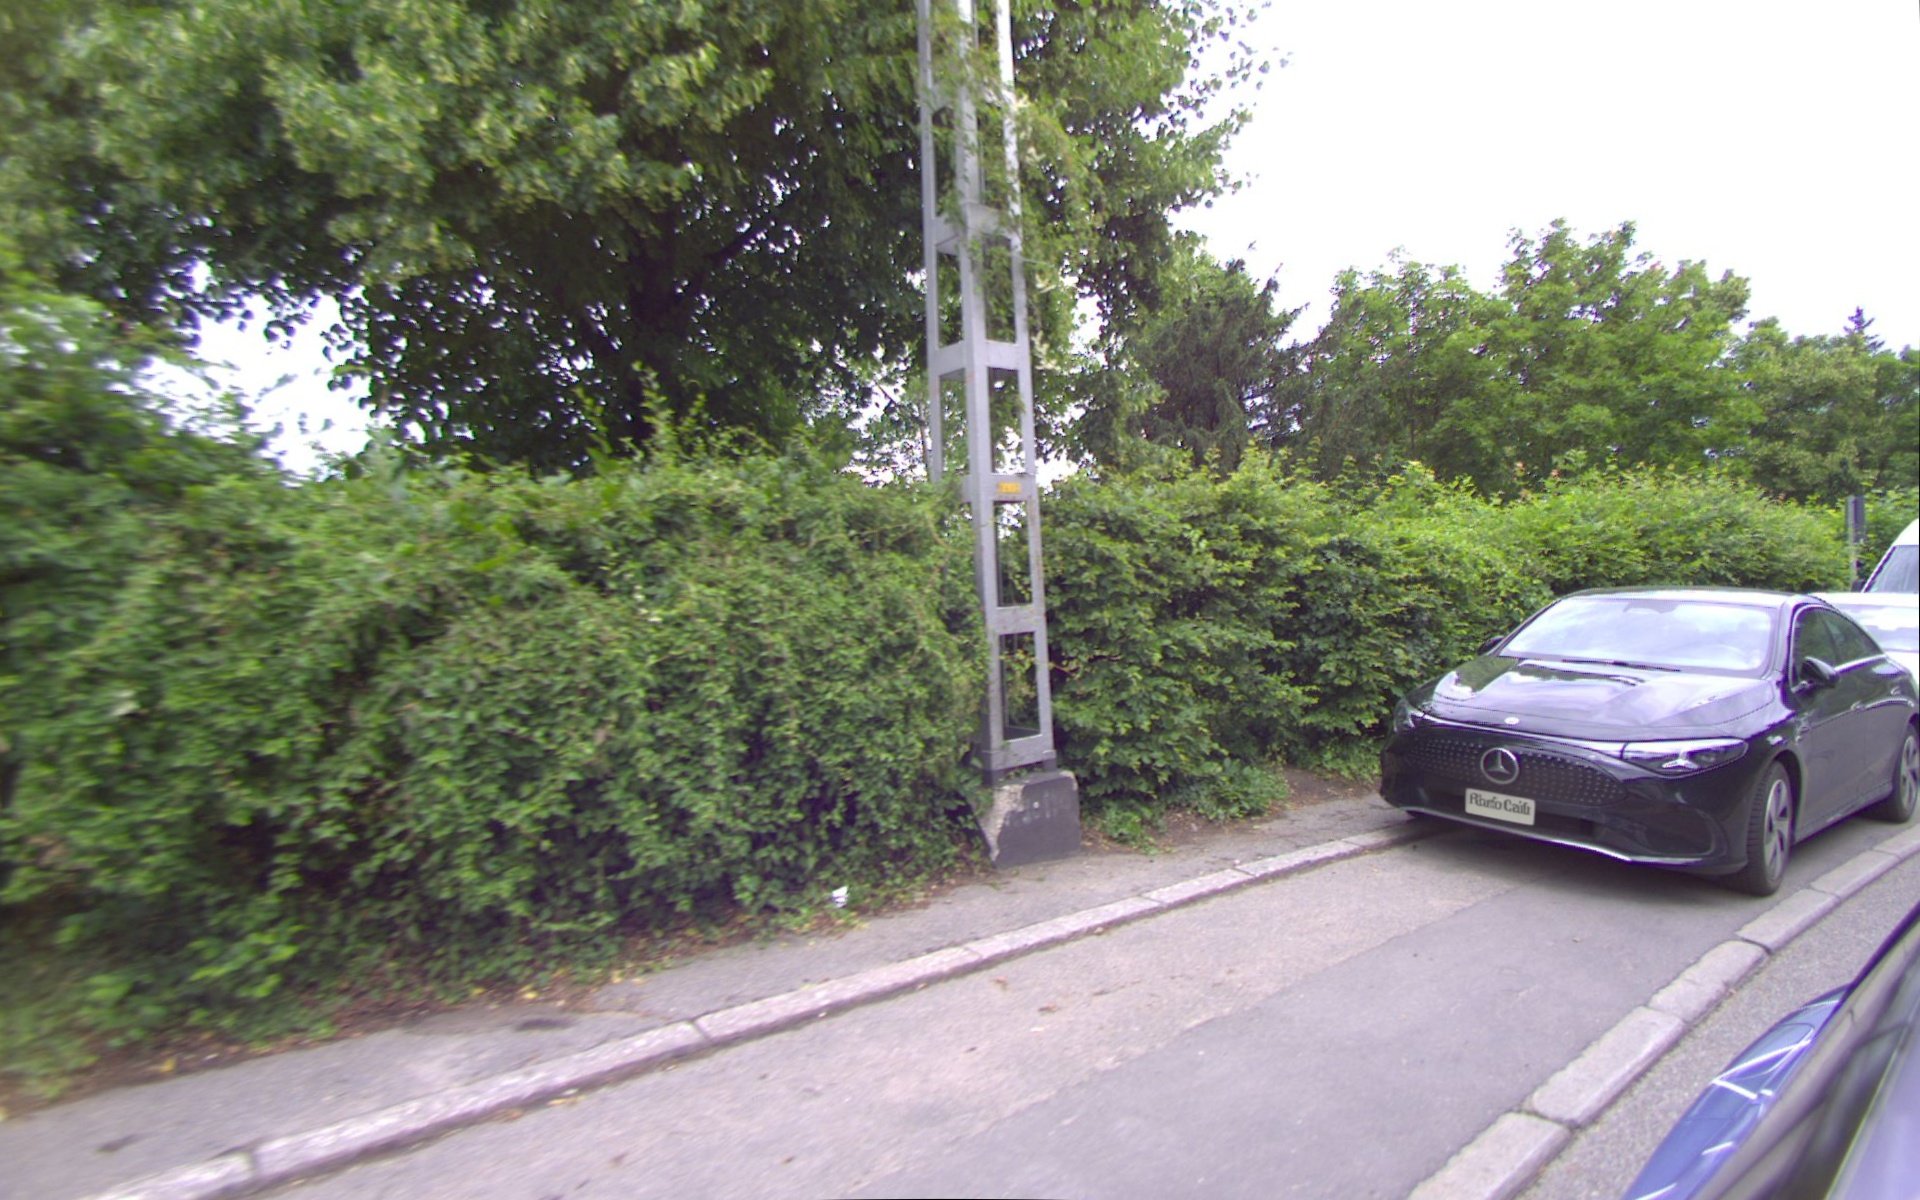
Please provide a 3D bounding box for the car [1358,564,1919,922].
[{"bbox_3d":[4.536,0.568,6.241,4.577,1.482,1.706,0,1,-37],"label":"car"}]

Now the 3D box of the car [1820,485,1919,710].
[{"bbox_3d":[13.528,-0.014,12.587,5.724,2.554,2.095,0,2,-26],"label":"car"}]

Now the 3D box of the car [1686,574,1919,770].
[{"bbox_3d":[8.541,0.527,9.360,3.761,1.482,1.707,0,2,-33],"label":"car"}]
